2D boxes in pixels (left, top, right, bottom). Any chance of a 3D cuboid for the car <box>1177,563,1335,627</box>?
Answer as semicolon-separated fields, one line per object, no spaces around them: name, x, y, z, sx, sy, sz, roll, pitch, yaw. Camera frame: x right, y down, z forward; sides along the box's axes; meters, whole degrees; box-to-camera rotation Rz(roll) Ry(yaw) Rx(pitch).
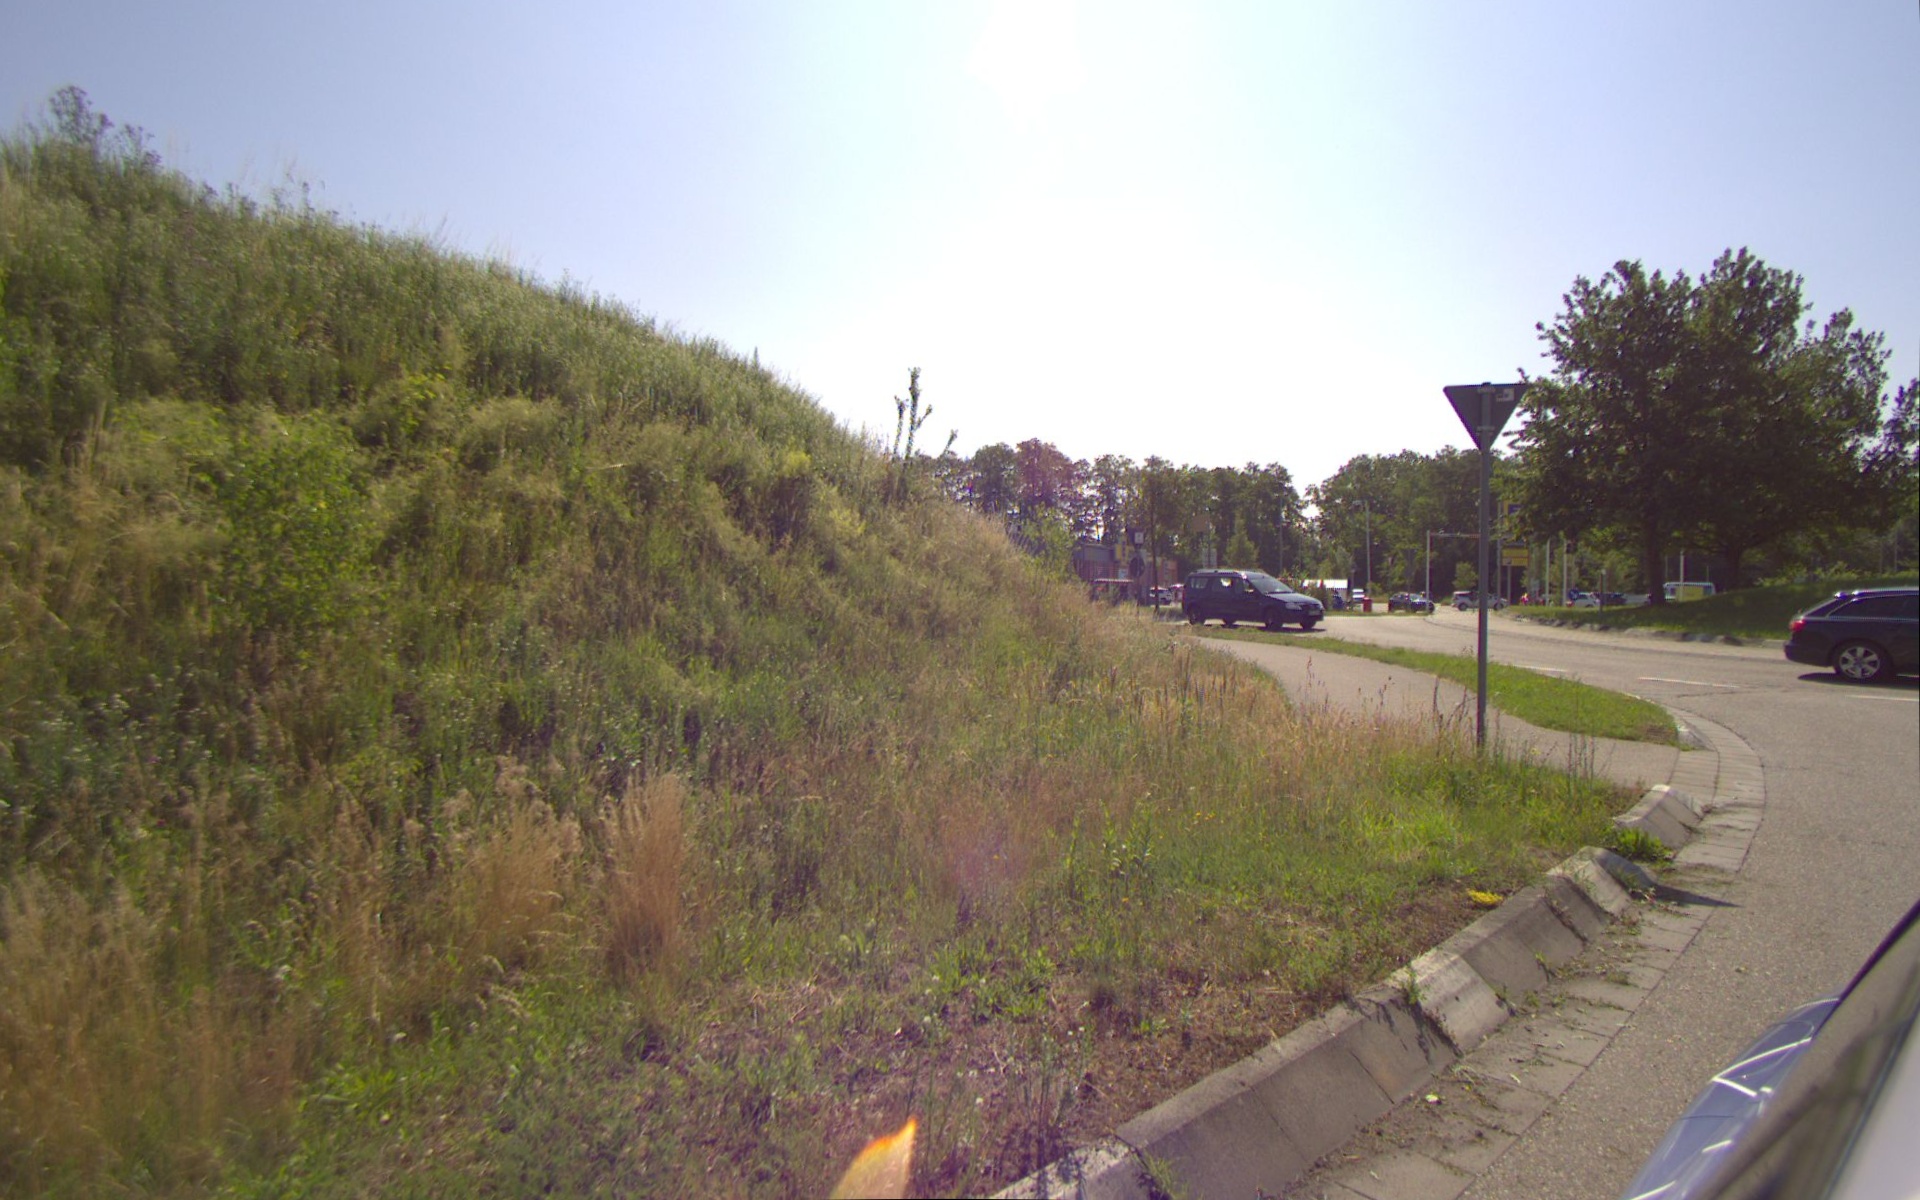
car;8.508;-0.185;29.425;1.675;1.676;4.354;-4;3;-33

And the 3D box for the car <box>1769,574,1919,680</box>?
car;15.133;0.390;14.969;1.781;1.508;4.678;-3;3;-36

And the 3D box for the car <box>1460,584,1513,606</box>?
car;45.265;-0.416;87.070;3.955;1.816;1.598;1;1;23

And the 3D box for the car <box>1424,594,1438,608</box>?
car;58.534;0.092;125.885;1.499;1.648;3.646;1;1;24

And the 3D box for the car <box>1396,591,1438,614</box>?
car;36.020;0.183;79.878;1.633;1.674;4.206;0;1;3

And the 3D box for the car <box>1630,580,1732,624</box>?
car;44.138;0.082;62.013;1.825;2.563;4.834;0;1;-44
